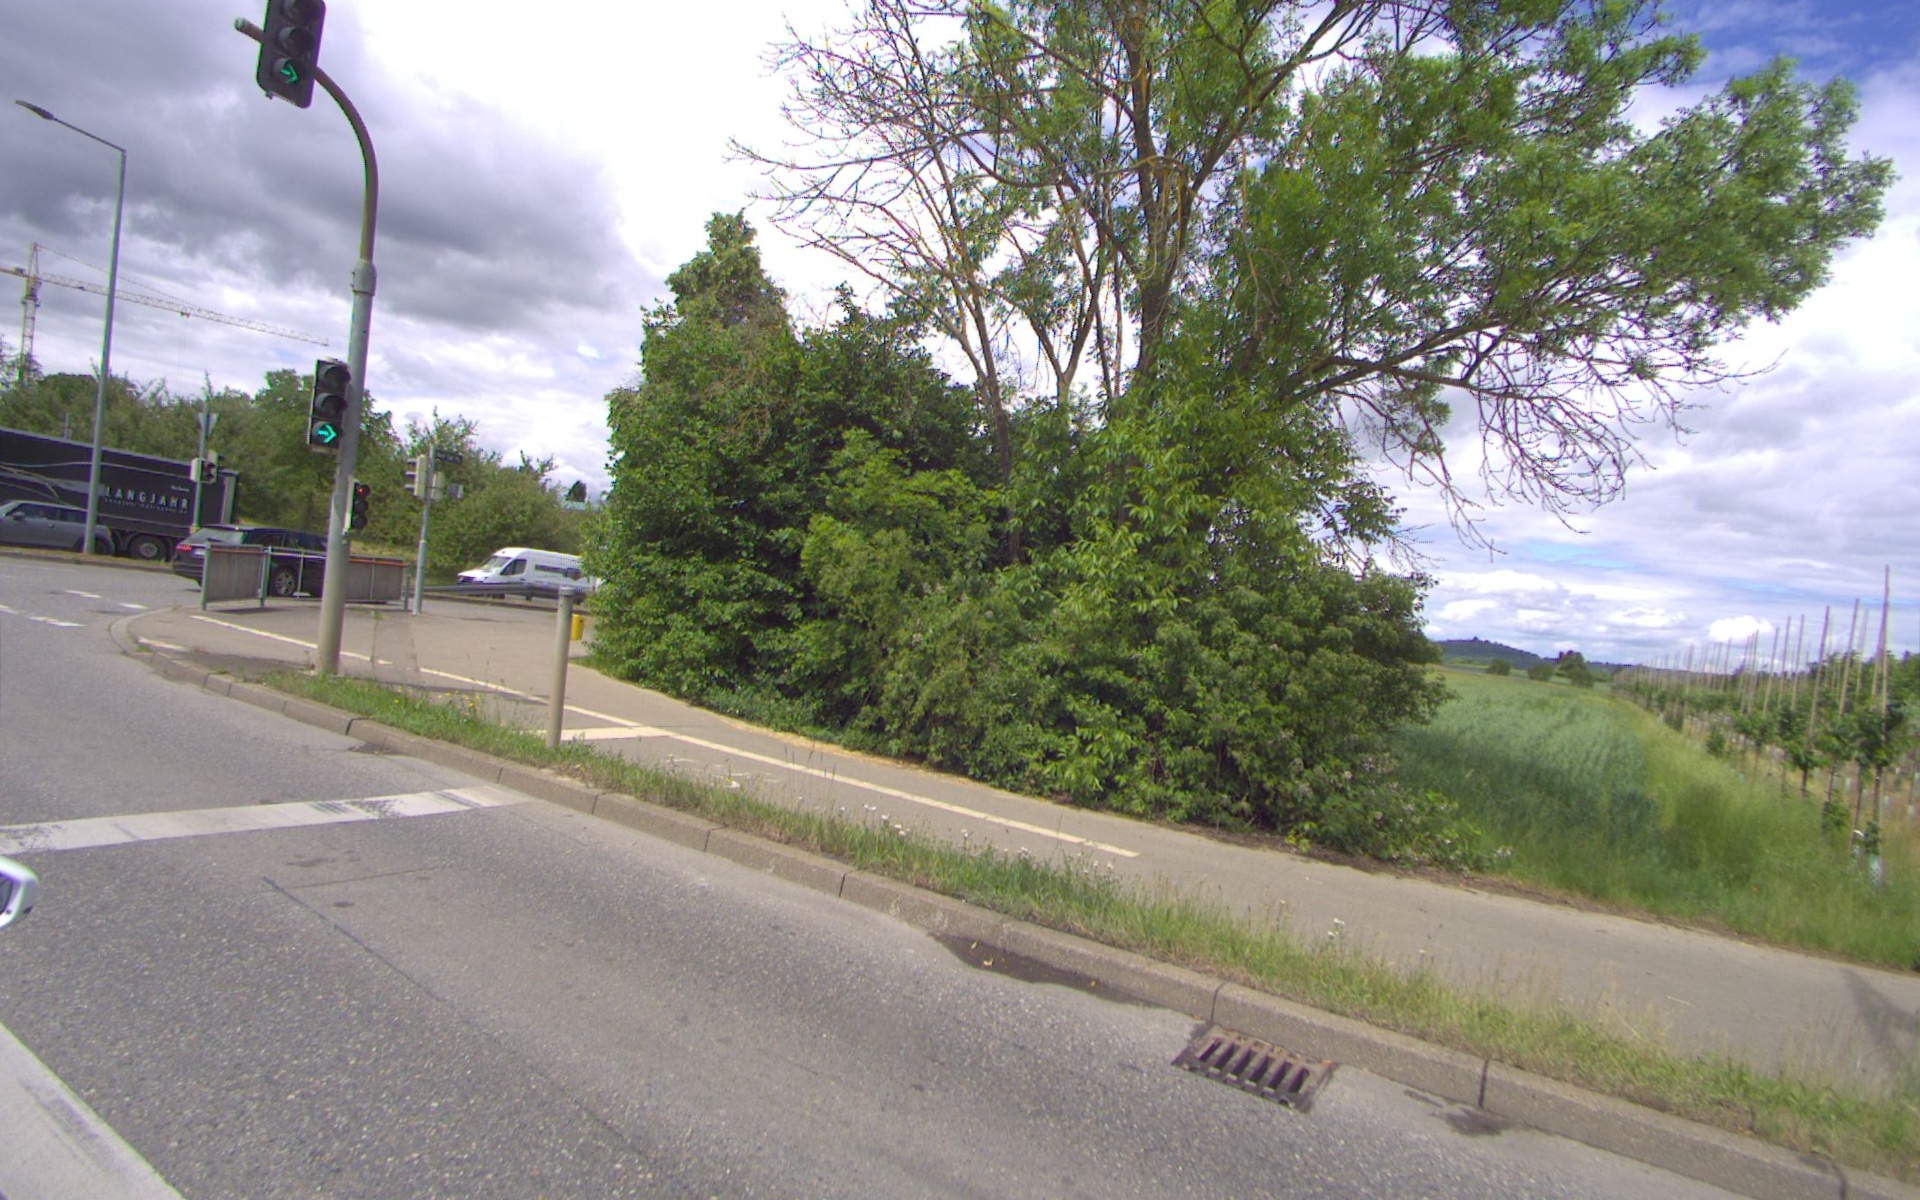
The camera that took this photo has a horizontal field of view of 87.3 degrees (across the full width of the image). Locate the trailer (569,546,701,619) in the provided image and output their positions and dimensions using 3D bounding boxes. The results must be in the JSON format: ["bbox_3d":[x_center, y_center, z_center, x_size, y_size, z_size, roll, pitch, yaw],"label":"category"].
[{"bbox_3d":[-15.589,-0.779,48.601,2.211,2.841,5.771,7,0,33],"label":"trailer"}]

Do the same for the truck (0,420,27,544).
[{"bbox_3d":[-29.347,-3.655,28.271,1.968,3.511,3.990,7,0,34],"label":"truck"}]

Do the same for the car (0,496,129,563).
[{"bbox_3d":[-25.327,-2.010,27.117,1.966,1.437,3.995,7,-1,30],"label":"car"}]

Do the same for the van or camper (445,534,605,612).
[{"bbox_3d":[-18.756,-1.097,43.706,2.213,2.563,5.923,7,-1,33],"label":"van or camper"}]

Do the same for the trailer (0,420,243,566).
[{"bbox_3d":[-27.297,-3.324,31.342,1.968,3.500,7.591,7,-1,34],"label":"trailer"}]

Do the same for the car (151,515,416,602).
[{"bbox_3d":[-14.767,-0.807,22.442,1.843,1.459,5.201,7,0,7],"label":"car"}]
